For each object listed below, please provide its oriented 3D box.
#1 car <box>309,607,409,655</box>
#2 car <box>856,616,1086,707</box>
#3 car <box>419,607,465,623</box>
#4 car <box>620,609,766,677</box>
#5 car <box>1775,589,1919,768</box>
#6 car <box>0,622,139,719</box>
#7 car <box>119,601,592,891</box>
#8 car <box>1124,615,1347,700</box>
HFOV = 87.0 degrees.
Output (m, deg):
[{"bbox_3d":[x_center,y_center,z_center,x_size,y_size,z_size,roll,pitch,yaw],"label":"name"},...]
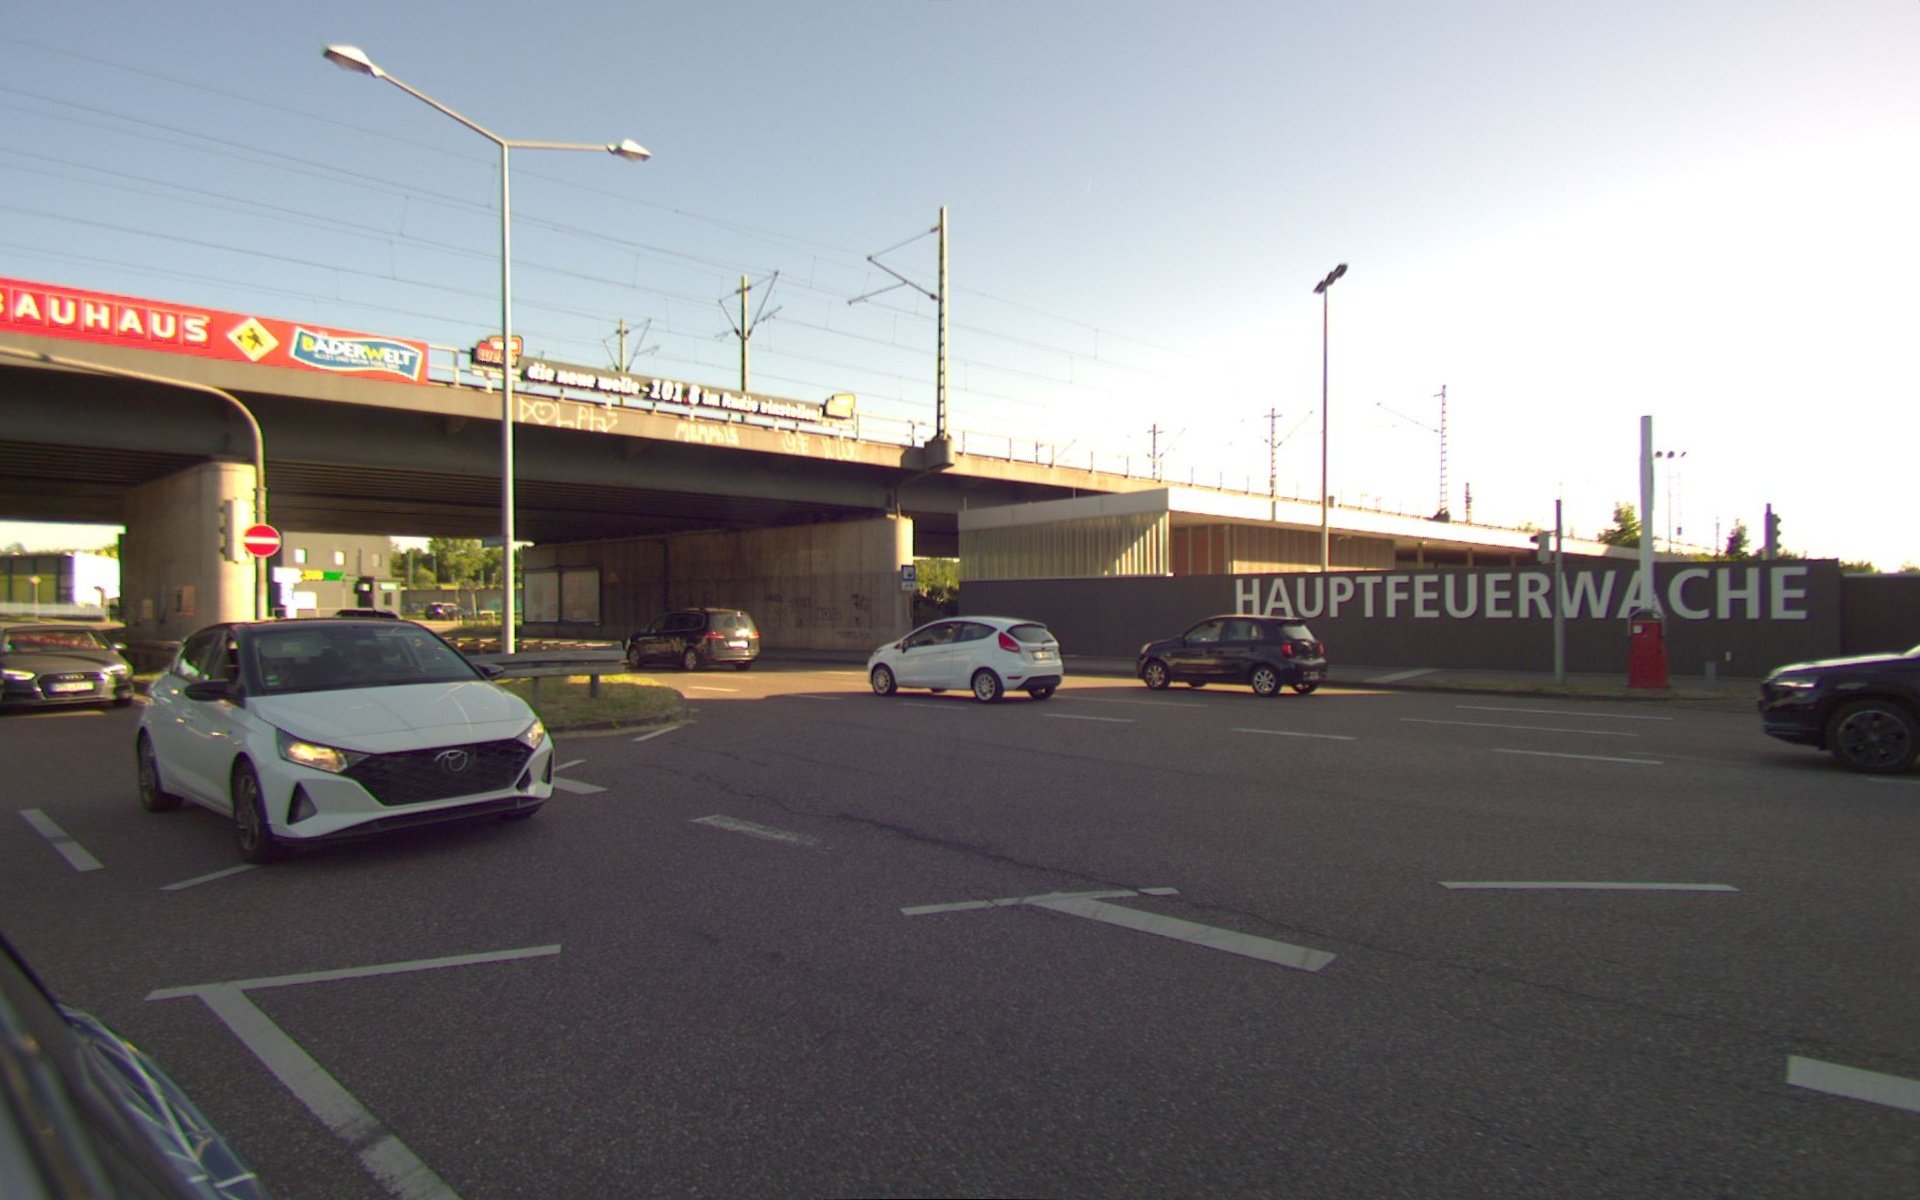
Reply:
[{"bbox_3d":[-21.961,1.125,36.932,4.527,1.638,1.805,0,-3,42],"label":"car"},{"bbox_3d":[0.115,1.022,17.931,3.977,1.415,1.629,-1,-3,42],"label":"car"},{"bbox_3d":[-44.495,1.318,87.020,1.805,1.291,4.181,1,-2,0],"label":"car"},{"bbox_3d":[-7.522,1.149,28.250,4.631,1.751,1.804,-1,-3,45],"label":"car"},{"bbox_3d":[9.804,0.710,8.648,4.395,1.557,1.630,0,-3,40],"label":"car"},{"bbox_3d":[-15.539,1.131,17.172,3.979,1.431,1.825,-2,-1,41],"label":"car"},{"bbox_3d":[-4.456,0.806,7.203,3.988,1.491,1.715,-2,-1,41],"label":"car"},{"bbox_3d":[5.312,1.065,19.875,1.626,1.493,3.982,3,-3,-42],"label":"car"}]
